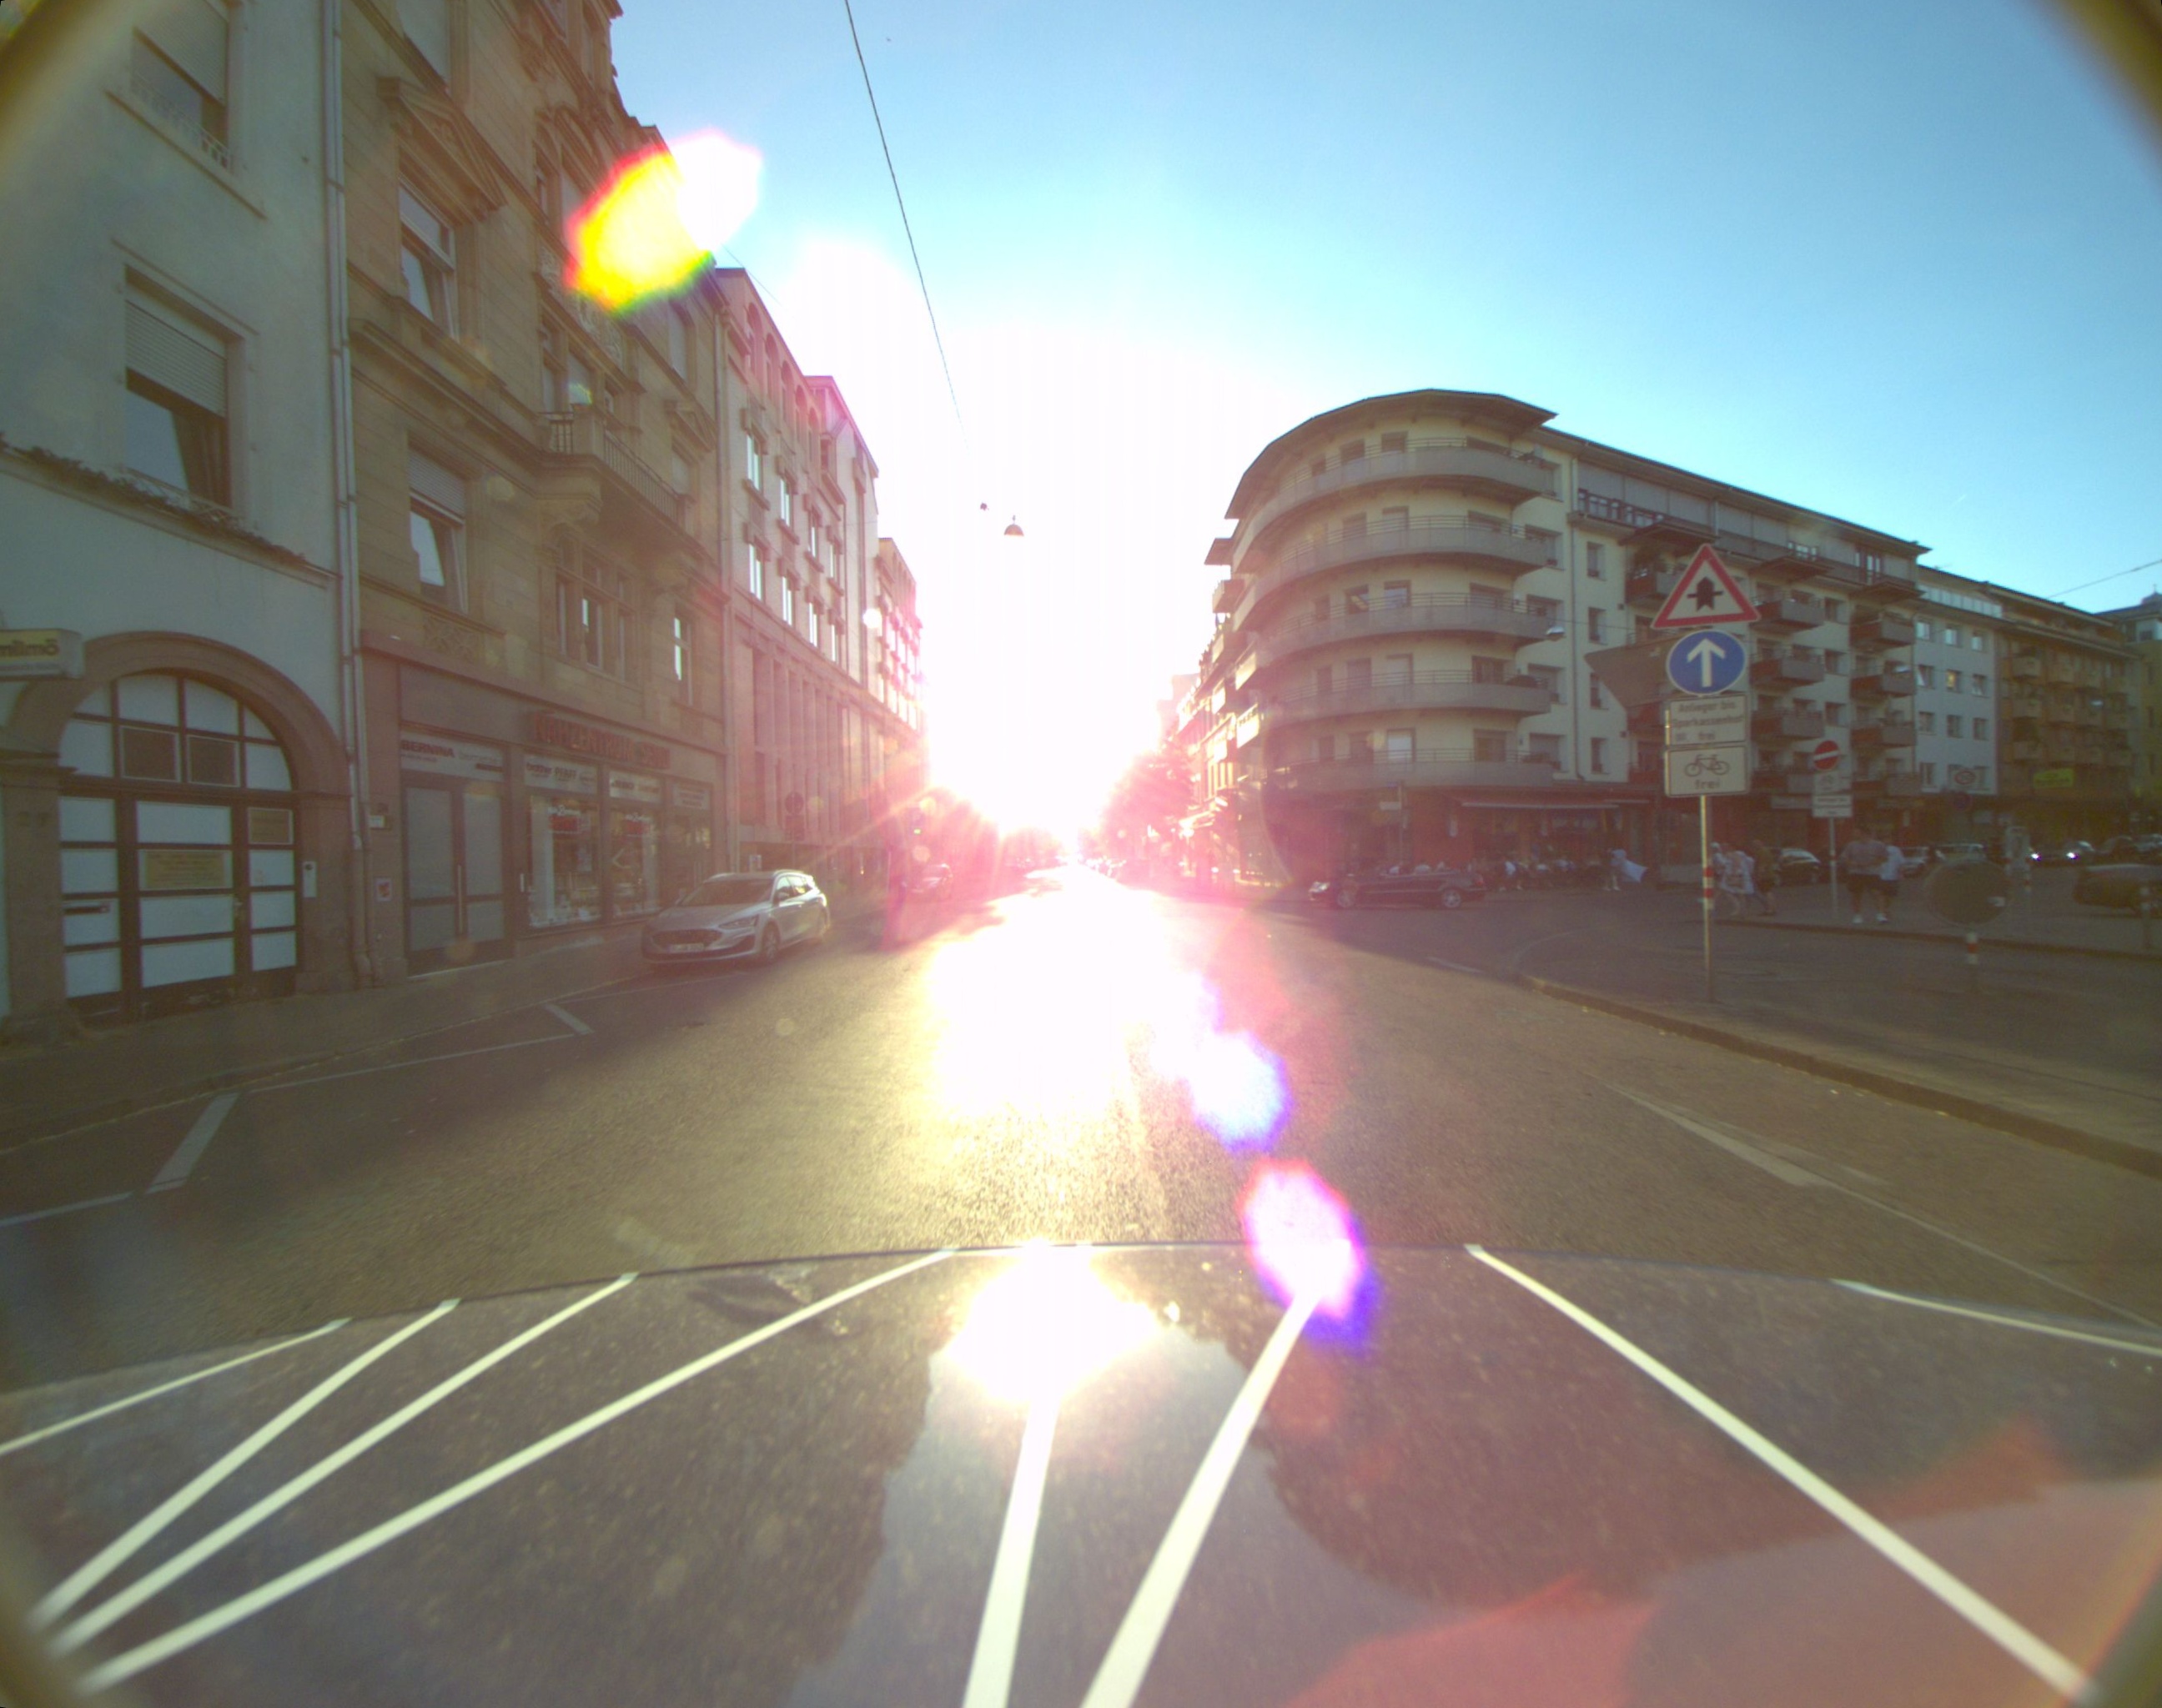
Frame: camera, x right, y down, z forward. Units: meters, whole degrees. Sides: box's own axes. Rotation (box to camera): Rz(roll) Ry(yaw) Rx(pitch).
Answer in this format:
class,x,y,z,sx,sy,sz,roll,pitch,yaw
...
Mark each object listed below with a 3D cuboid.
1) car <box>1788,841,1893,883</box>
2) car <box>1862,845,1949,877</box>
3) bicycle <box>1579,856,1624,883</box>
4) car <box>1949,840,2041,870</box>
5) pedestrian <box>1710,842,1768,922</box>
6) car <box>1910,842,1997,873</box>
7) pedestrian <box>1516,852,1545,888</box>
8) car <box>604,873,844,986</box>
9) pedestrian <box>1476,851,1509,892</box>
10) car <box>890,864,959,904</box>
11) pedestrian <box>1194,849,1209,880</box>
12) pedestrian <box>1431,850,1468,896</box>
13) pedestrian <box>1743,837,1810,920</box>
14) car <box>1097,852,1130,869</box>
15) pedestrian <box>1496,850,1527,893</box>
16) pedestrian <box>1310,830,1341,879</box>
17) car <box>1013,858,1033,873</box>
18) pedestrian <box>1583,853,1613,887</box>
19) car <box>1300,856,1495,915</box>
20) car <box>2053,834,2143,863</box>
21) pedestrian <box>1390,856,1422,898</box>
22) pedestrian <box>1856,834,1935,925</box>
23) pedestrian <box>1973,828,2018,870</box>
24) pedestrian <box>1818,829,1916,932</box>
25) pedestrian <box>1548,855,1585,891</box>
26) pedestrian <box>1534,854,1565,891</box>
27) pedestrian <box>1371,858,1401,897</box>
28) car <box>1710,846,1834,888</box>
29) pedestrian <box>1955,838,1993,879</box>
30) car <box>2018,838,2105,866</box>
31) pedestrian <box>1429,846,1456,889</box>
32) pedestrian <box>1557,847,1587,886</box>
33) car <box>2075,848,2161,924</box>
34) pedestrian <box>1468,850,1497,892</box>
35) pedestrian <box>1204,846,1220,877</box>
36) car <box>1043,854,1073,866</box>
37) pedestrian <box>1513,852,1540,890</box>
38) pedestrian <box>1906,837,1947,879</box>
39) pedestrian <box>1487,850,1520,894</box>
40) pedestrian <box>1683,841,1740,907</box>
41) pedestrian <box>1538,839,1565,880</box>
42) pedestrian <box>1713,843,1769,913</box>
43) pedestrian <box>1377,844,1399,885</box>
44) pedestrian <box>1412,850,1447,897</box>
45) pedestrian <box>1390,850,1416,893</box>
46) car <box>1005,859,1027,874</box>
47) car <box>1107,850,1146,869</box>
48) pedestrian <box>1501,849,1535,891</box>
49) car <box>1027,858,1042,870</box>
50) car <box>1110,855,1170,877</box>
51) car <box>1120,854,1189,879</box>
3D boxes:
class,x,y,z,sx,sy,sz,roll,pitch,yaw
car,33.261,0.361,33.275,4.142,1.689,1.882,-1,-1,-24
car,39.321,0.319,36.214,3.972,1.395,1.750,-1,-1,-27
bicycle,21.549,0.639,31.465,2.008,1.080,0.549,-1,-1,-25
car,48.339,0.063,40.181,4.399,1.468,1.865,-1,-1,-22
pedestrian,15.252,0.642,17.618,0.884,1.792,0.713,-1,-1,-29
car,44.231,0.170,38.506,3.952,1.468,1.766,-1,-1,-24
pedestrian,17.617,0.633,29.792,0.603,1.412,0.713,-1,-1,-25
car,-5.749,1.111,13.041,1.999,1.526,4.682,-2,-1,-2
pedestrian,15.594,0.649,28.808,0.784,1.495,0.768,-1,0,-27
car,-6.347,1.176,31.274,1.998,1.511,4.000,-1,-1,0
pedestrian,7.694,0.672,48.660,0.730,1.936,0.740,-2,0,-6
pedestrian,12.725,0.644,26.228,0.854,1.528,0.712,-1,5,-23
pedestrian,16.076,0.561,17.573,0.852,1.865,0.714,-2,-1,-10
car,4.177,0.845,97.784,3.998,2.002,1.999,-2,0,-4
pedestrian,15.896,0.634,28.063,0.701,1.519,0.649,-1,4,-28
pedestrian,10.351,0.039,32.193,0.862,2.002,0.814,-3,0,-10
car,-6.513,1.263,86.047,1.999,1.543,3.999,-1,0,-2
pedestrian,20.329,0.628,29.887,0.850,1.271,0.716,0,4,44
car,8.580,0.836,20.916,4.612,1.400,1.811,-2,1,4
car,60.709,-0.332,45.371,4.371,1.606,1.997,-1,-1,-20
pedestrian,10.966,0.762,25.617,0.768,1.374,0.841,0,2,40
pedestrian,16.561,0.514,15.453,0.892,1.783,0.982,-1,-1,-40
pedestrian,38.227,-0.193,31.759,0.921,1.716,0.833,-2,0,-12
pedestrian,14.917,0.489,14.432,0.891,1.872,0.983,-1,-1,-22
pedestrian,18.458,0.708,28.897,0.853,1.298,0.878,-2,2,-5
pedestrian,17.472,0.686,28.340,0.750,1.337,0.654,-1,3,-27
pedestrian,10.566,0.807,26.312,0.684,1.274,0.970,-1,2,40
car,28.134,0.510,30.925,4.635,1.542,1.877,-1,-1,-22
pedestrian,38.429,0.183,32.687,0.704,1.716,0.919,-2,0,-29
car,55.491,-0.126,43.007,4.305,1.468,1.896,-1,-1,-22
pedestrian,13.243,0.505,27.842,0.647,1.526,0.753,-2,-1,8
pedestrian,19.695,0.511,30.488,0.851,1.526,0.716,-2,-1,44
car,21.990,0.549,13.860,2.110,1.422,4.440,-1,-1,-30
pedestrian,15.006,0.619,28.413,0.655,1.527,0.674,-1,3,-27
pedestrian,8.416,0.472,48.774,0.730,1.936,0.804,-2,0,-6
car,-3.975,0.983,129.733,4.837,2.002,2.004,-1,0,36
pedestrian,17.046,0.651,29.061,0.562,1.426,0.666,-1,2,-27
pedestrian,37.716,0.165,33.906,1.005,1.816,0.948,-2,-1,38
pedestrian,15.303,0.654,27.521,0.760,1.528,0.712,-1,4,-28
pedestrian,17.513,0.555,21.112,0.870,1.783,0.850,-1,-1,-22
pedestrian,20.219,0.227,32.654,0.669,1.710,0.717,-1,0,-26
pedestrian,17.357,0.626,19.996,0.737,1.783,0.811,-1,-1,-22
pedestrian,13.568,0.470,33.591,0.618,1.766,0.611,-1,0,-27
pedestrian,11.959,0.645,26.081,0.689,1.527,0.714,-7,2,-8
pedestrian,11.645,0.631,27.446,0.712,1.526,0.855,-2,-1,31
car,-6.649,1.267,78.381,1.999,1.543,3.999,-1,0,-2
car,4.975,0.596,83.801,3.998,2.002,1.999,-2,0,-4
pedestrian,16.498,0.599,28.679,0.681,1.526,0.851,-1,-1,-28
car,-6.317,1.375,103.331,1.756,1.543,4.286,-1,0,-2
car,4.139,0.831,53.872,3.998,1.412,1.999,-1,0,-4
car,4.923,0.818,51.561,4.442,1.532,1.817,-1,0,-2
